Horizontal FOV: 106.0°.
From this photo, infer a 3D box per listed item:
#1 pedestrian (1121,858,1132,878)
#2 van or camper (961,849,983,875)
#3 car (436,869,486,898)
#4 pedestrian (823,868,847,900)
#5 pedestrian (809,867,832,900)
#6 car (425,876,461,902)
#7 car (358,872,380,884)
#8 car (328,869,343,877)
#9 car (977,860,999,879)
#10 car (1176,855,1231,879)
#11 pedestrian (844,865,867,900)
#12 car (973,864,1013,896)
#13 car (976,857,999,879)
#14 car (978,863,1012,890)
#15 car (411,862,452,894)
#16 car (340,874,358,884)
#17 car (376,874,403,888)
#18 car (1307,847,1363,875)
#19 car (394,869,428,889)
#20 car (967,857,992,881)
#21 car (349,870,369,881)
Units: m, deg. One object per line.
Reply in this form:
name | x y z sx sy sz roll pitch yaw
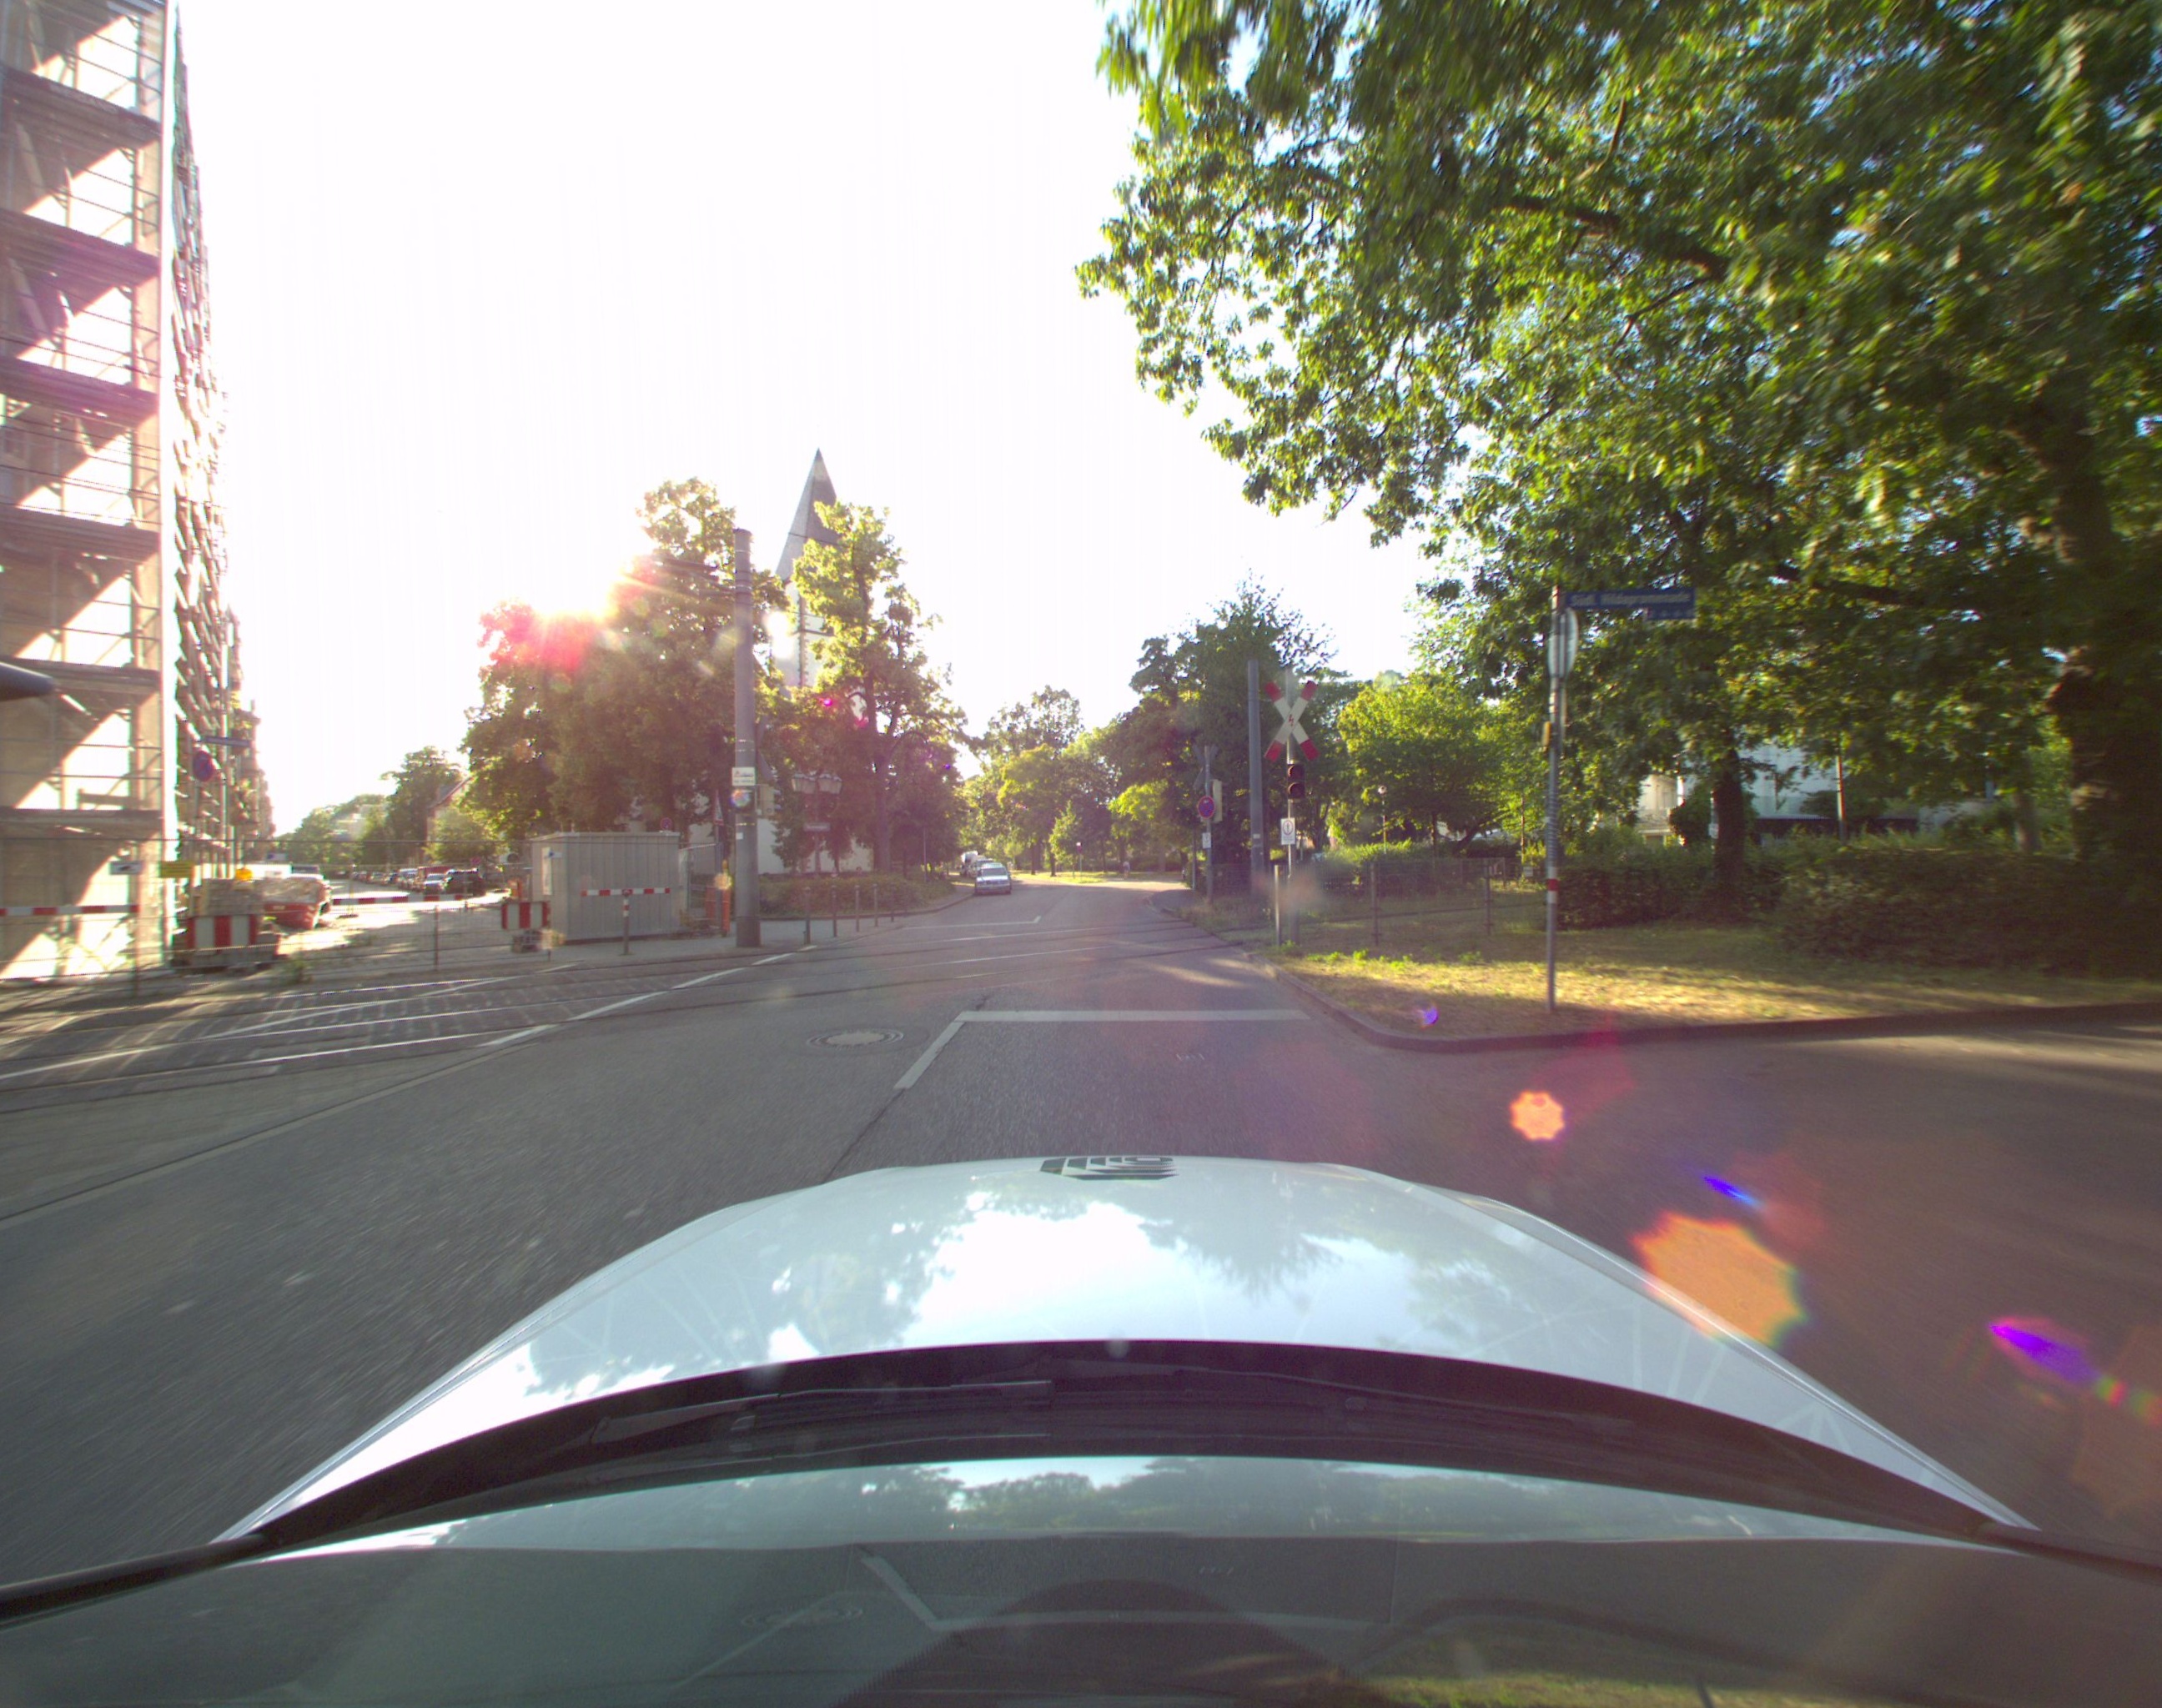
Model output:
pedestrian | 3.732 1.158 66.798 0.770 1.575 0.768 -1 -1 1
van or camper | -12.628 0.907 94.404 2.091 2.908 6.307 -1 0 -11
car | -38.648 1.816 50.733 4.167 1.655 1.903 -2 -1 45
pedestrian | -9.444 1.132 31.313 0.548 1.195 0.886 -1 0 9
pedestrian | -10.024 1.113 31.359 0.548 1.233 0.726 -1 0 9
car | -44.121 2.380 56.348 1.901 1.655 4.172 -1 -1 -39
car | -94.214 3.225 107.708 4.167 1.514 1.903 -2 -1 45
car | -140.454 3.561 153.366 4.167 1.514 1.903 -2 -1 45
car | -7.668 1.268 66.997 1.615 1.501 3.685 -1 0 -9
car | 9.192 0.942 60.710 4.345 1.675 1.785 -1 1 -44
pedestrian | -8.693 1.103 31.446 0.548 1.298 0.767 -1 0 9
car | -4.375 1.253 41.127 1.776 1.415 4.490 -3 0 -5
car | -8.597 1.233 74.699 1.851 1.946 4.825 -1 0 -9
car | -5.150 1.313 48.466 1.823 1.415 4.483 -3 0 -8
car | -48.381 1.764 60.648 4.167 2.261 1.903 -2 -1 45
car | -119.721 4.136 133.128 4.167 1.514 1.903 -2 -1 45
car | -76.677 2.959 90.287 4.167 1.514 1.903 -2 -1 45
car | 19.631 0.519 62.841 1.934 2.014 5.184 -1 -1 44
car | -59.227 2.228 71.967 4.167 1.655 1.903 -2 -1 45
car | -10.197 1.463 81.806 1.854 2.356 5.160 -1 0 -14
car | -105.400 3.102 118.900 4.167 1.514 1.903 -2 -1 45
